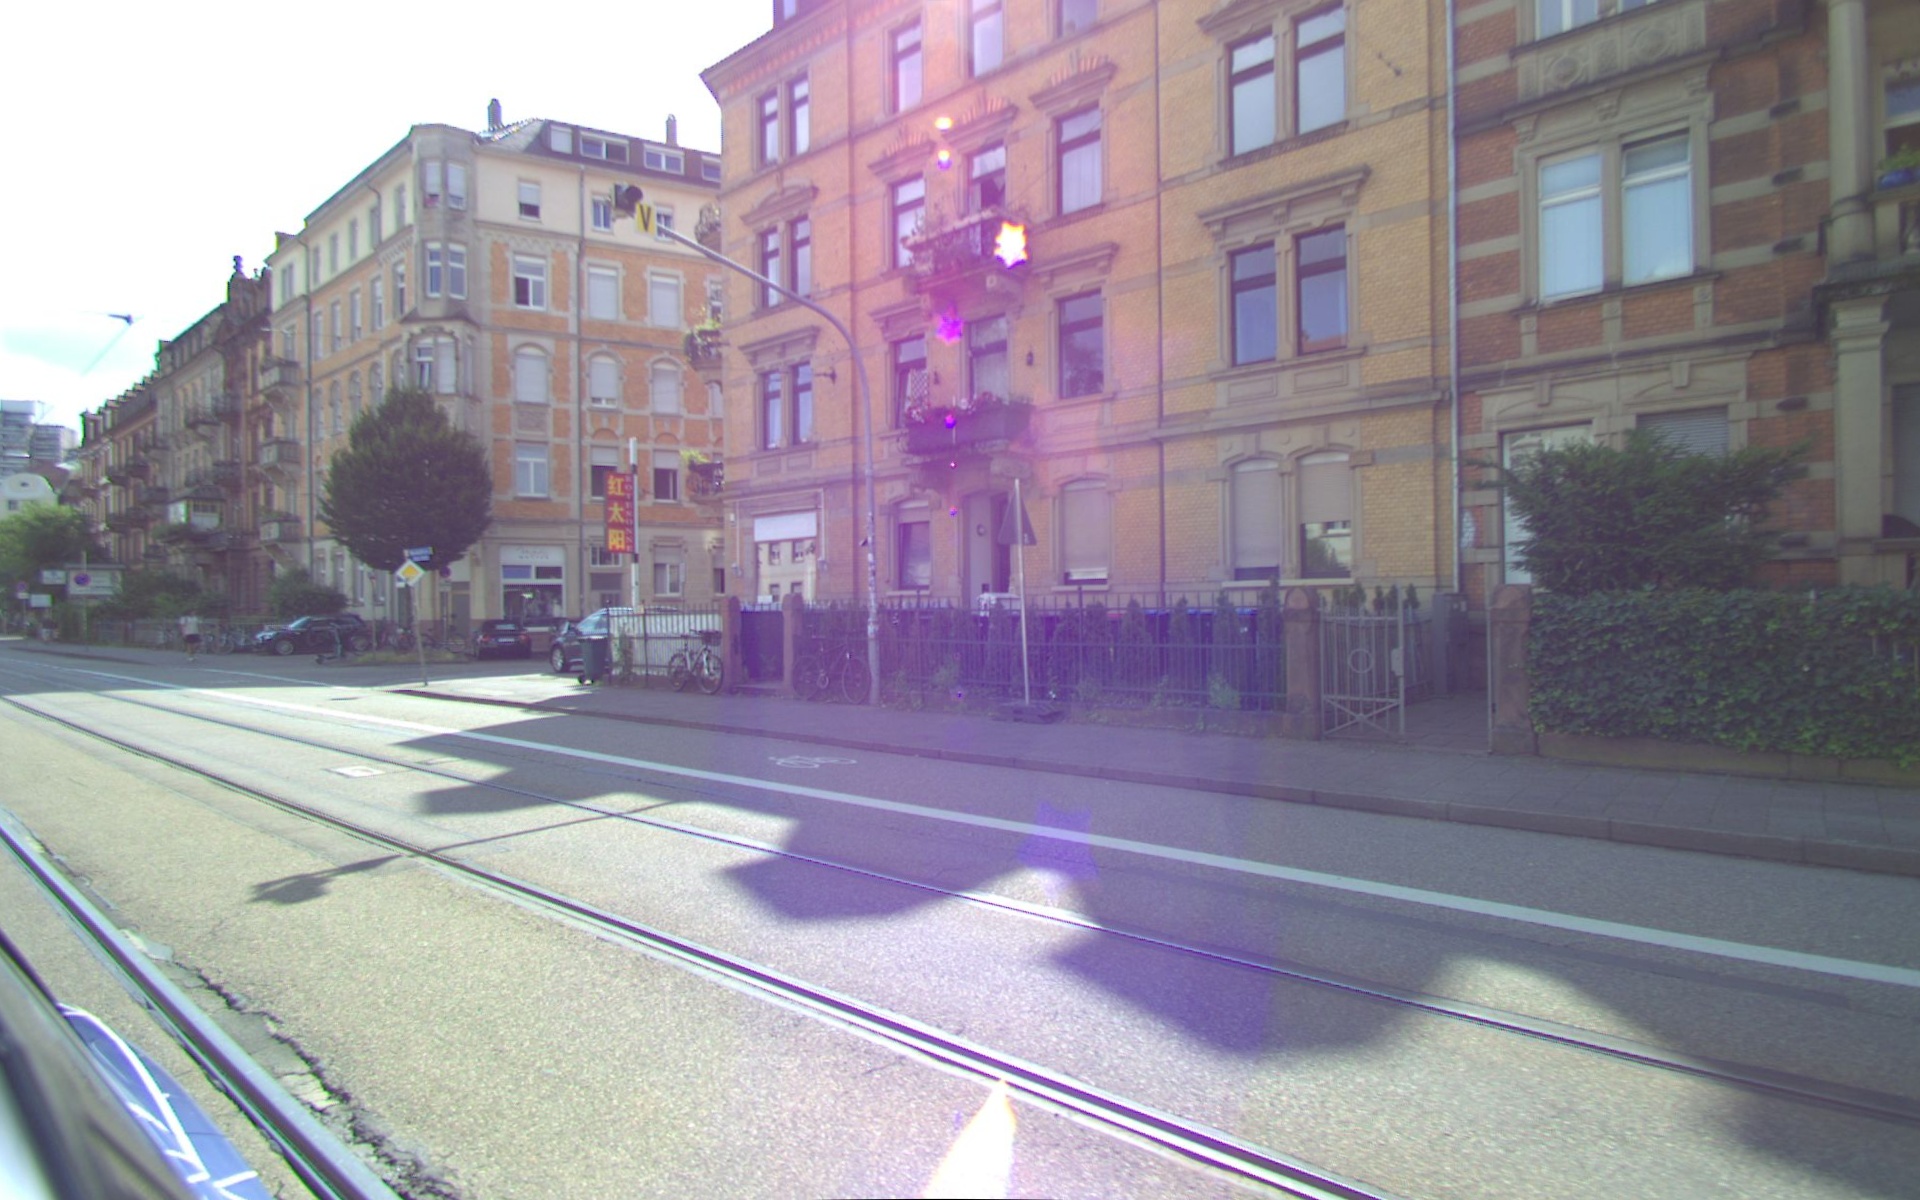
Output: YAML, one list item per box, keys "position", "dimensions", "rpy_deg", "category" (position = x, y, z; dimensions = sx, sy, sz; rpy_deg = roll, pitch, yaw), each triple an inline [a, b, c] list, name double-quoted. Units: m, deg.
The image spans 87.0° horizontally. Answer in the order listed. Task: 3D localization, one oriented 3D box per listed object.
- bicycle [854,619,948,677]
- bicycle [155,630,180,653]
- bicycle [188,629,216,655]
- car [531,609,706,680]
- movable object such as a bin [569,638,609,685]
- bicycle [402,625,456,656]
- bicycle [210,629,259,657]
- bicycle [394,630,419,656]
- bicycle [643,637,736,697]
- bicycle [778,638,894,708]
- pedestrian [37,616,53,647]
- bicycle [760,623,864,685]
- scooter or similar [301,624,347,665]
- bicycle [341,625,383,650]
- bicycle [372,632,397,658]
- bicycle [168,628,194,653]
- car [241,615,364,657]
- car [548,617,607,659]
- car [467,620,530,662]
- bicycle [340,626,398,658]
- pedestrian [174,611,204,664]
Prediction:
- position: [-1.023, 0.823, 17.905]
  dimensions: [0.531, 0.954, 1.943]
  rpy_deg: [-1, -1, 37]
  category: "bicycle"
- position: [-33.404, 1.740, 42.654]
  dimensions: [1.948, 0.939, 0.417]
  rpy_deg: [-1, -1, 40]
  category: "bicycle"
- position: [-28.996, 1.590, 38.718]
  dimensions: [1.948, 0.984, 0.417]
  rpy_deg: [-1, -1, 40]
  category: "bicycle"
- position: [-7.984, 0.979, 23.431]
  dimensions: [4.761, 1.470, 1.668]
  rpy_deg: [-1, -1, 41]
  category: "car"
- position: [-7.547, 1.237, 20.591]
  dimensions: [0.635, 0.912, 0.520]
  rpy_deg: [-1, -1, 39]
  category: "movable object such as a bin"
- position: [-19.341, 1.462, 36.882]
  dimensions: [1.671, 1.071, 0.525]
  rpy_deg: [0, -2, -39]
  category: "bicycle"
- position: [-26.976, 1.584, 37.662]
  dimensions: [0.404, 0.984, 1.438]
  rpy_deg: [-2, -1, 40]
  category: "bicycle"
- position: [-18.870, 1.472, 34.512]
  dimensions: [0.516, 0.844, 1.702]
  rpy_deg: [0, -1, -36]
  category: "bicycle"
- position: [-4.653, 1.123, 17.327]
  dimensions: [1.966, 0.954, 0.524]
  rpy_deg: [-1, -1, 41]
  category: "bicycle"
- position: [-1.863, 1.052, 14.982]
  dimensions: [1.966, 0.954, 0.524]
  rpy_deg: [-1, -1, 41]
  category: "bicycle"
- position: [-52.474, 1.803, 58.029]
  dimensions: [1.150, 1.716, 0.483]
  rpy_deg: [-1, -1, 39]
  category: "pedestrian"
- position: [-2.443, 0.882, 16.937]
  dimensions: [0.530, 0.954, 1.944]
  rpy_deg: [-1, -1, 35]
  category: "bicycle"
- position: [-20.373, 1.421, 32.447]
  dimensions: [0.400, 1.244, 1.361]
  rpy_deg: [-1, 0, 12]
  category: "scooter or similar"
- position: [-24.433, 1.533, 41.351]
  dimensions: [0.404, 0.984, 1.438]
  rpy_deg: [-2, -1, 40]
  category: "bicycle"
- position: [-19.591, 1.520, 34.433]
  dimensions: [0.516, 0.844, 1.702]
  rpy_deg: [0, -1, -36]
  category: "bicycle"
- position: [-30.949, 1.605, 40.218]
  dimensions: [1.948, 0.984, 0.417]
  rpy_deg: [-1, -1, 40]
  category: "bicycle"
- position: [-24.593, 1.331, 37.935]
  dimensions: [1.787, 1.413, 3.563]
  rpy_deg: [-2, -1, 44]
  category: "car"
- position: [-14.041, 1.361, 37.036]
  dimensions: [1.616, 1.426, 3.800]
  rpy_deg: [0, -1, -27]
  category: "car"
- position: [-16.360, 1.430, 35.765]
  dimensions: [1.616, 1.371, 3.938]
  rpy_deg: [0, -1, -31]
  category: "car"
- position: [-20.915, 1.464, 35.836]
  dimensions: [0.523, 1.071, 1.738]
  rpy_deg: [-2, -1, 35]
  category: "bicycle"
- position: [-26.566, 1.271, 34.860]
  dimensions: [1.105, 1.773, 0.528]
  rpy_deg: [-1, 1, 40]
  category: "pedestrian"
